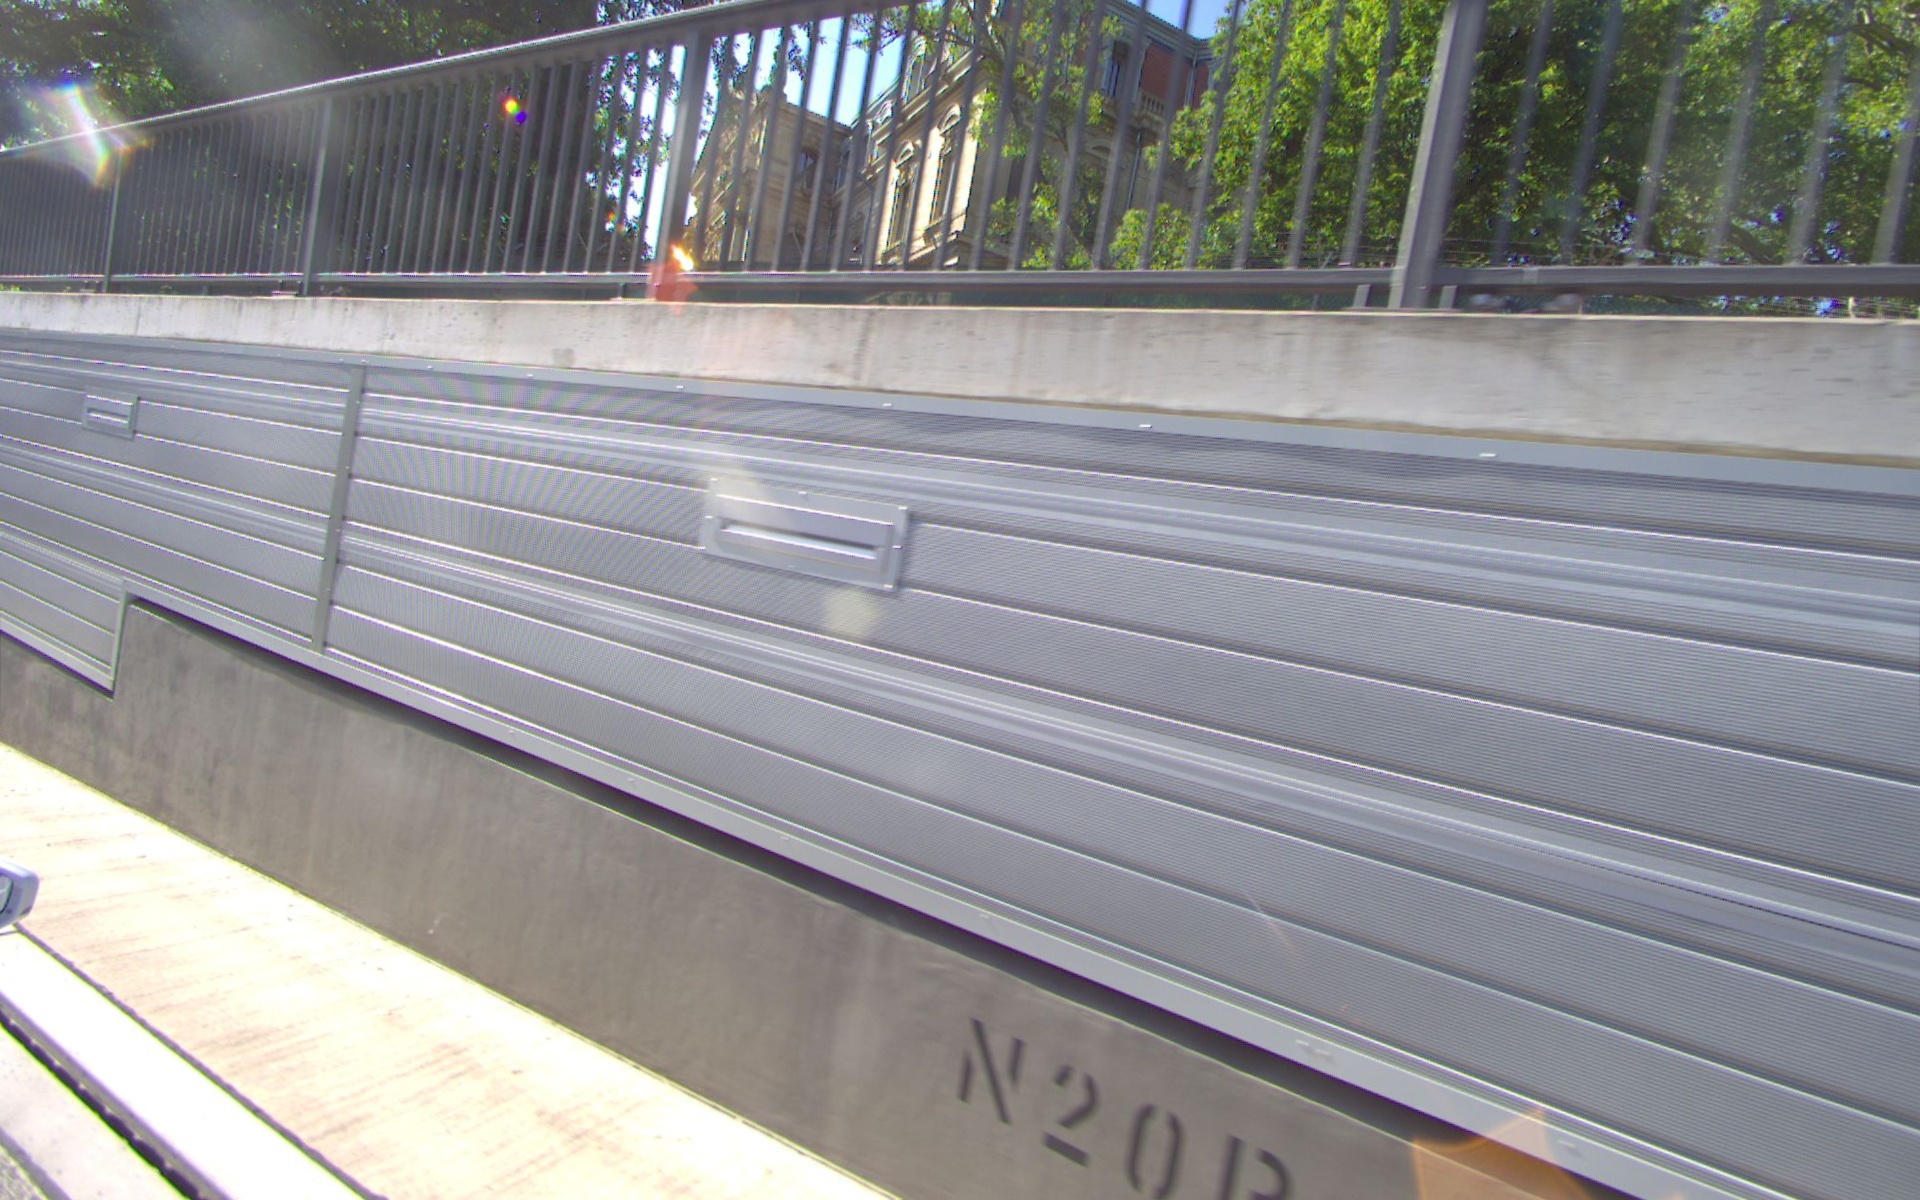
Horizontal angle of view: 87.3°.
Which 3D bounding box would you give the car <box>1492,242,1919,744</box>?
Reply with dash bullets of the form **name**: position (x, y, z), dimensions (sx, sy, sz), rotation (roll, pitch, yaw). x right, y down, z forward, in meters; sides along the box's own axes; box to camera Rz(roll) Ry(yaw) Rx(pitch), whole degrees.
- **car**: position (4.052, -0.130, 3.256), dimensions (3.905, 1.452, 1.670), rotation (10, 1, 30)
